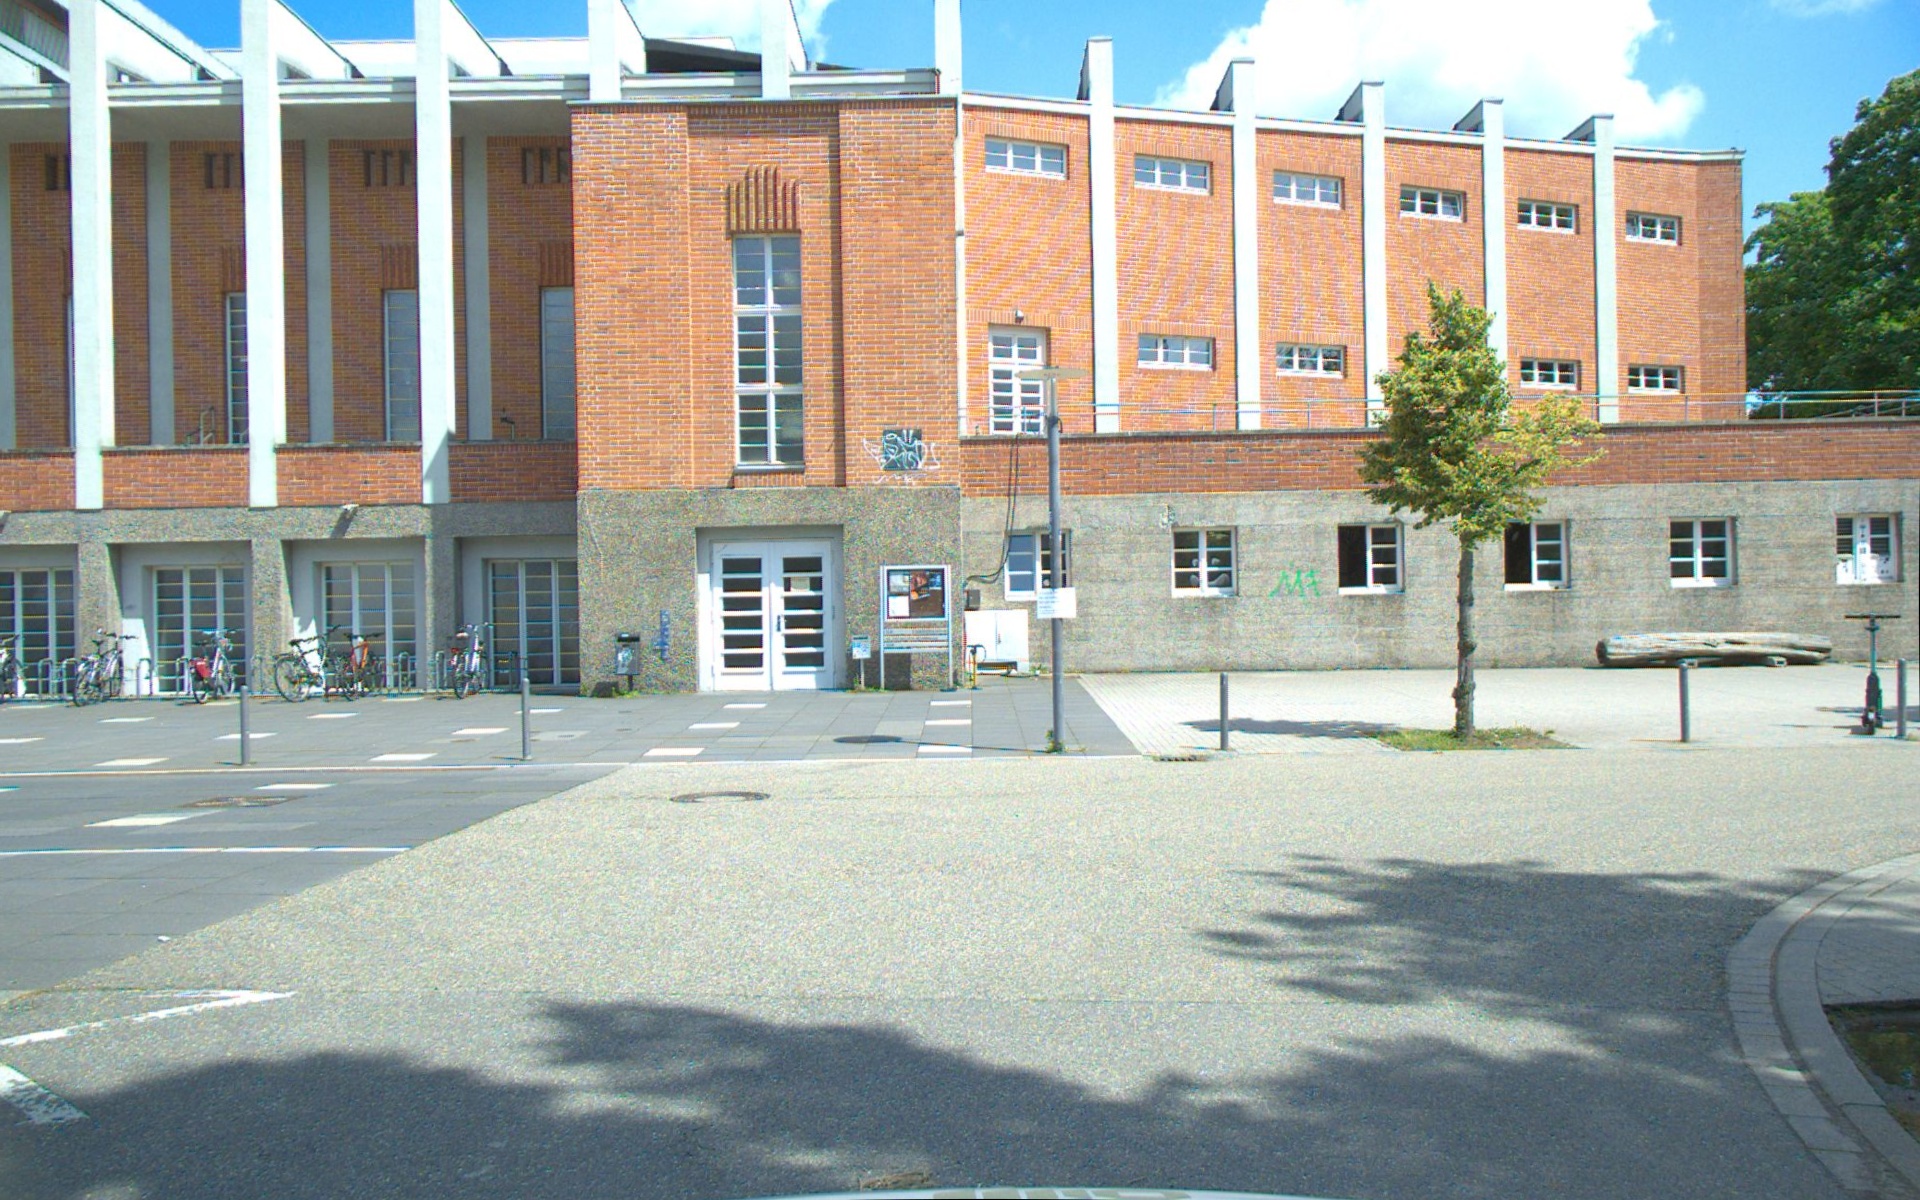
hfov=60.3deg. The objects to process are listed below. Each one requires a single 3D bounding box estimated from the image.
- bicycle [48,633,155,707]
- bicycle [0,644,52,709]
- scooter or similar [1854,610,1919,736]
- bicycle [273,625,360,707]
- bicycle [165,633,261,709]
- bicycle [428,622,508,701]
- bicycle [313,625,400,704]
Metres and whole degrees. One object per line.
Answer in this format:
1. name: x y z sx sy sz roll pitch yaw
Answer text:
1. bicycle: -13.598 1.087 26.266 0.647 1.079 2.028 -1 0 -1
2. bicycle: -15.313 1.222 26.306 0.668 0.977 1.956 -1 0 -1
3. scooter or similar: 9.882 0.749 17.627 0.558 1.246 1.573 -1 0 27
4. bicycle: -10.180 1.020 26.235 0.428 1.145 2.030 -1 1 4
5. bicycle: -11.791 1.103 26.162 0.607 1.101 2.016 -1 0 -1
6. bicycle: -7.742 0.945 26.117 0.651 1.145 2.028 -1 0 -1
7. bicycle: -9.533 0.997 26.194 0.578 1.145 2.028 -1 0 1
